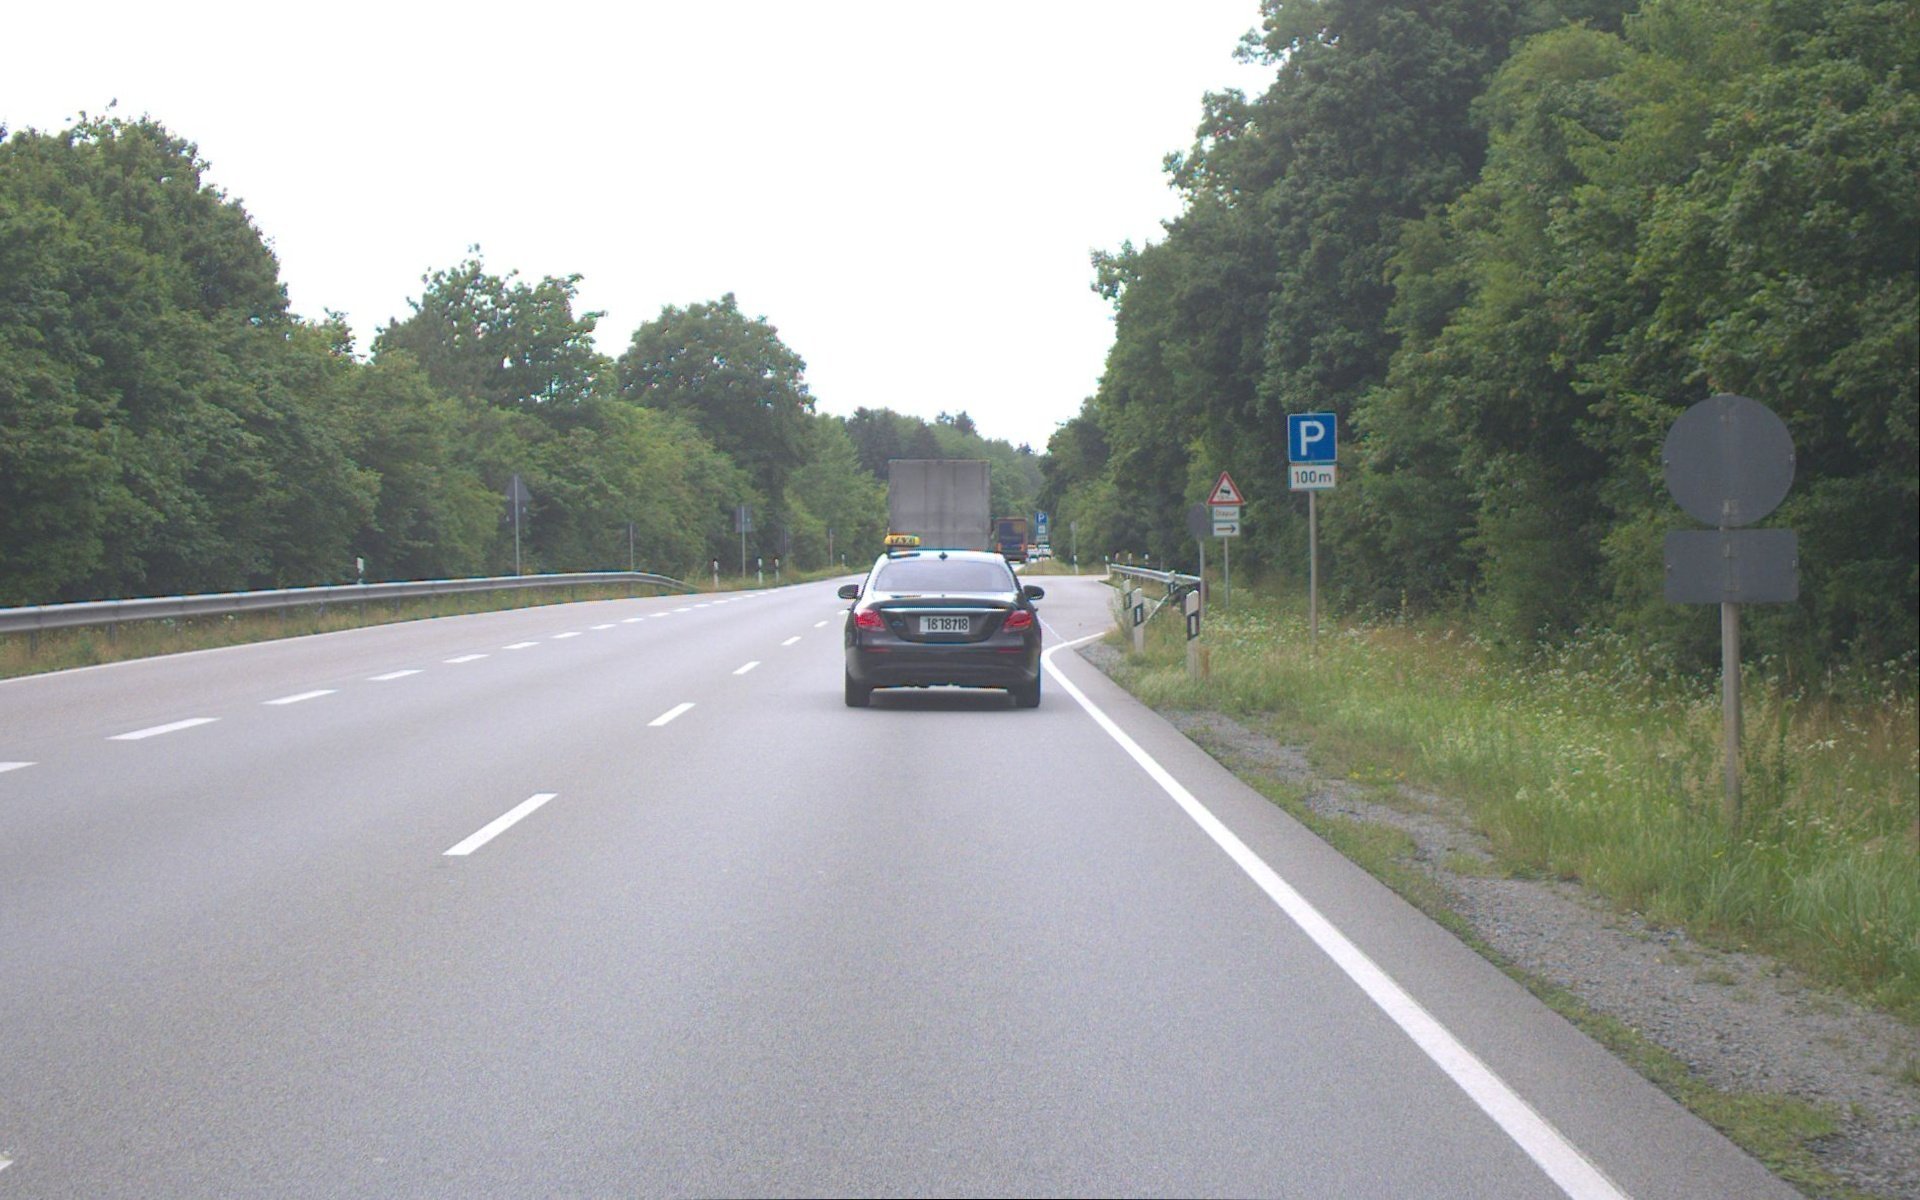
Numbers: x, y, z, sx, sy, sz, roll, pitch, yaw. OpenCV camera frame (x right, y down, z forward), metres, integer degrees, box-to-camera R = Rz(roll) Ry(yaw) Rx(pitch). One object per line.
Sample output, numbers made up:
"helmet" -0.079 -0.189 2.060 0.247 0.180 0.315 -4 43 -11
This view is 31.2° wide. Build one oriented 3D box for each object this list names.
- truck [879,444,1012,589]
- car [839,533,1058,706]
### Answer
"truck" -0.418 -2.181 91.662 3.281 3.599 11.400 1 1 -1
"car" -0.171 0.141 33.008 1.791 1.546 4.001 0 1 -5
